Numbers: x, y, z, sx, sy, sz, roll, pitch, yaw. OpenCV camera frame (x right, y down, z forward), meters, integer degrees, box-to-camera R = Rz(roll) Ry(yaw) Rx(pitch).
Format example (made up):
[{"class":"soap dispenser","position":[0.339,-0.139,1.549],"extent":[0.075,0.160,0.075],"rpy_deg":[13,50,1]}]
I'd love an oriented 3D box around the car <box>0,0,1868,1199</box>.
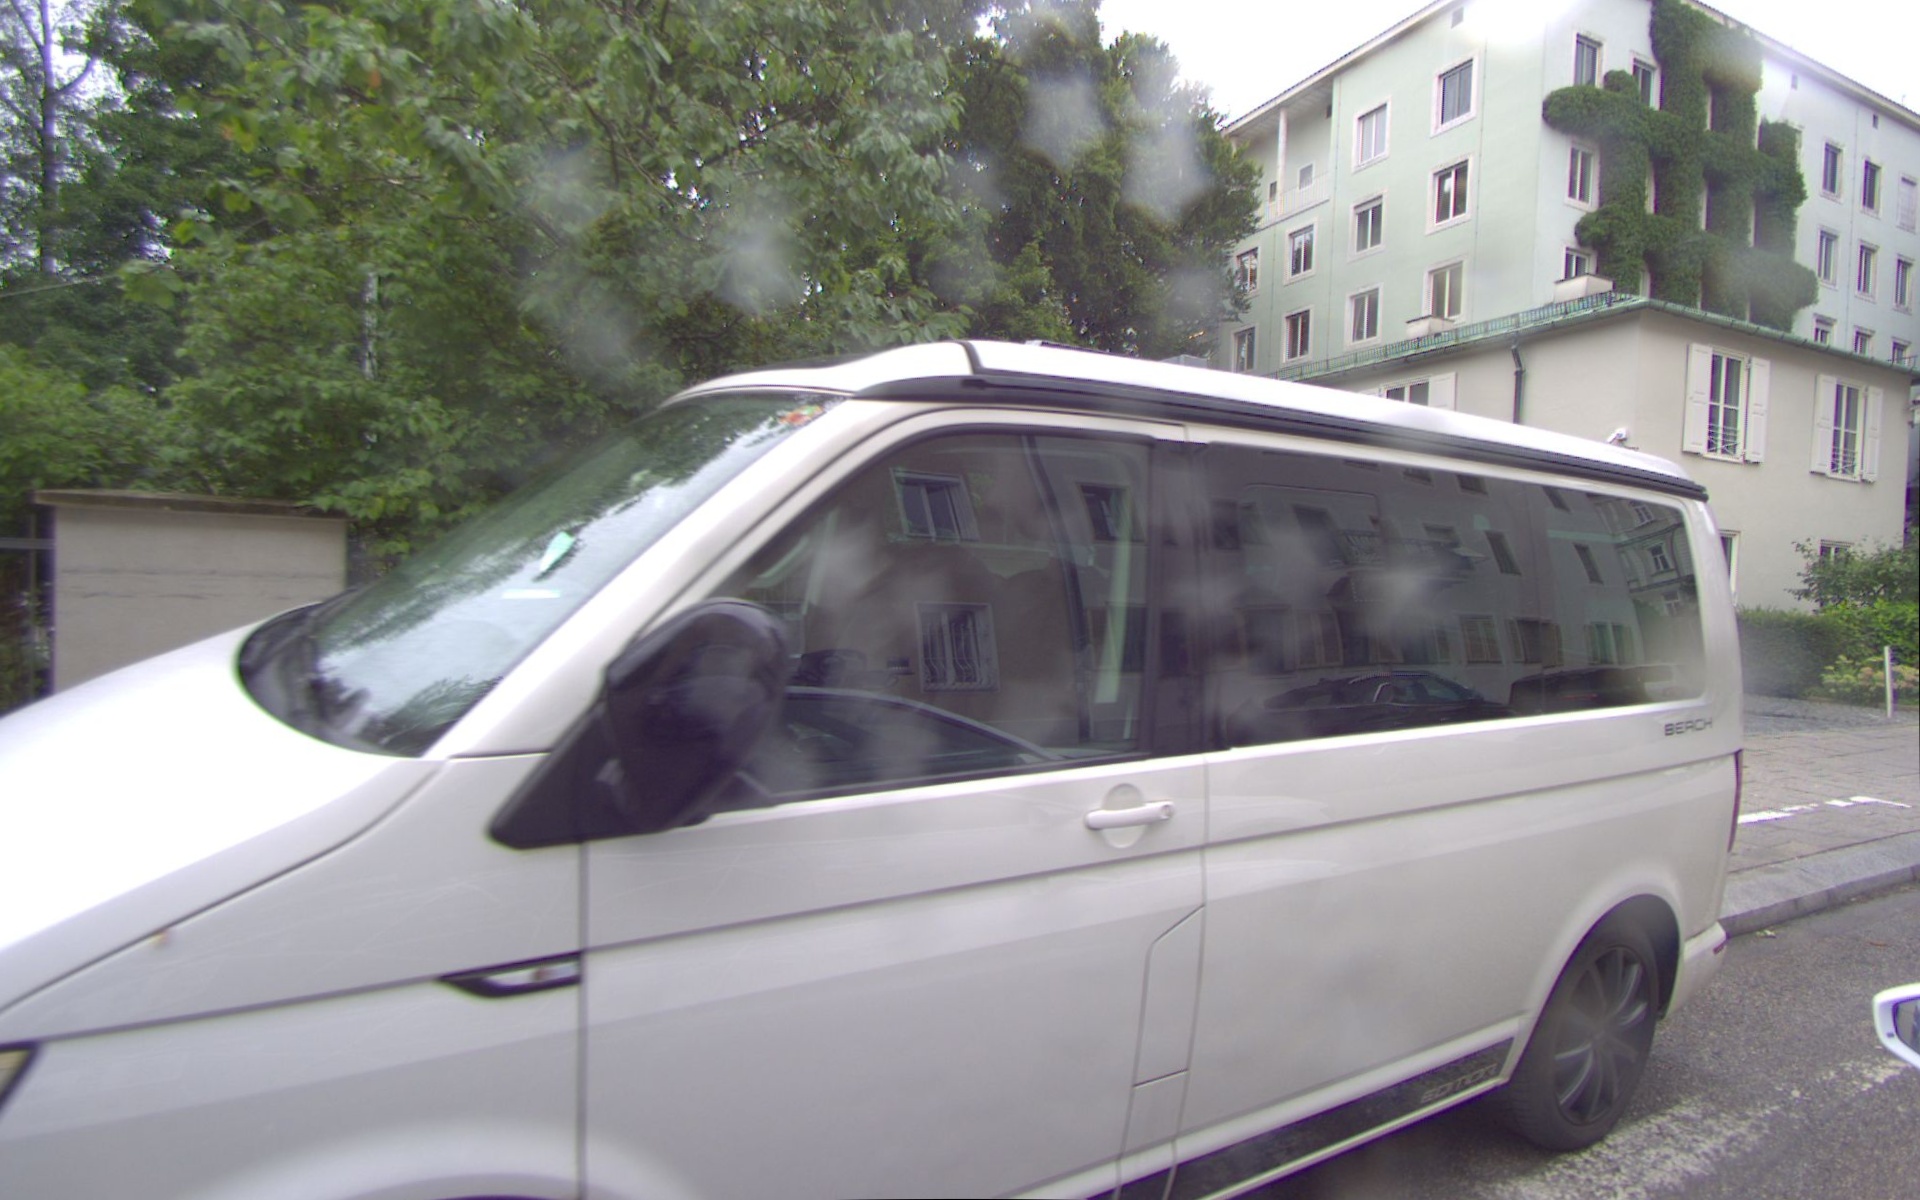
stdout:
[{"class":"car","position":[0.181,0.412,2.720],"extent":[5.094,2.017,1.955],"rpy_deg":[2,2,-32]}]
